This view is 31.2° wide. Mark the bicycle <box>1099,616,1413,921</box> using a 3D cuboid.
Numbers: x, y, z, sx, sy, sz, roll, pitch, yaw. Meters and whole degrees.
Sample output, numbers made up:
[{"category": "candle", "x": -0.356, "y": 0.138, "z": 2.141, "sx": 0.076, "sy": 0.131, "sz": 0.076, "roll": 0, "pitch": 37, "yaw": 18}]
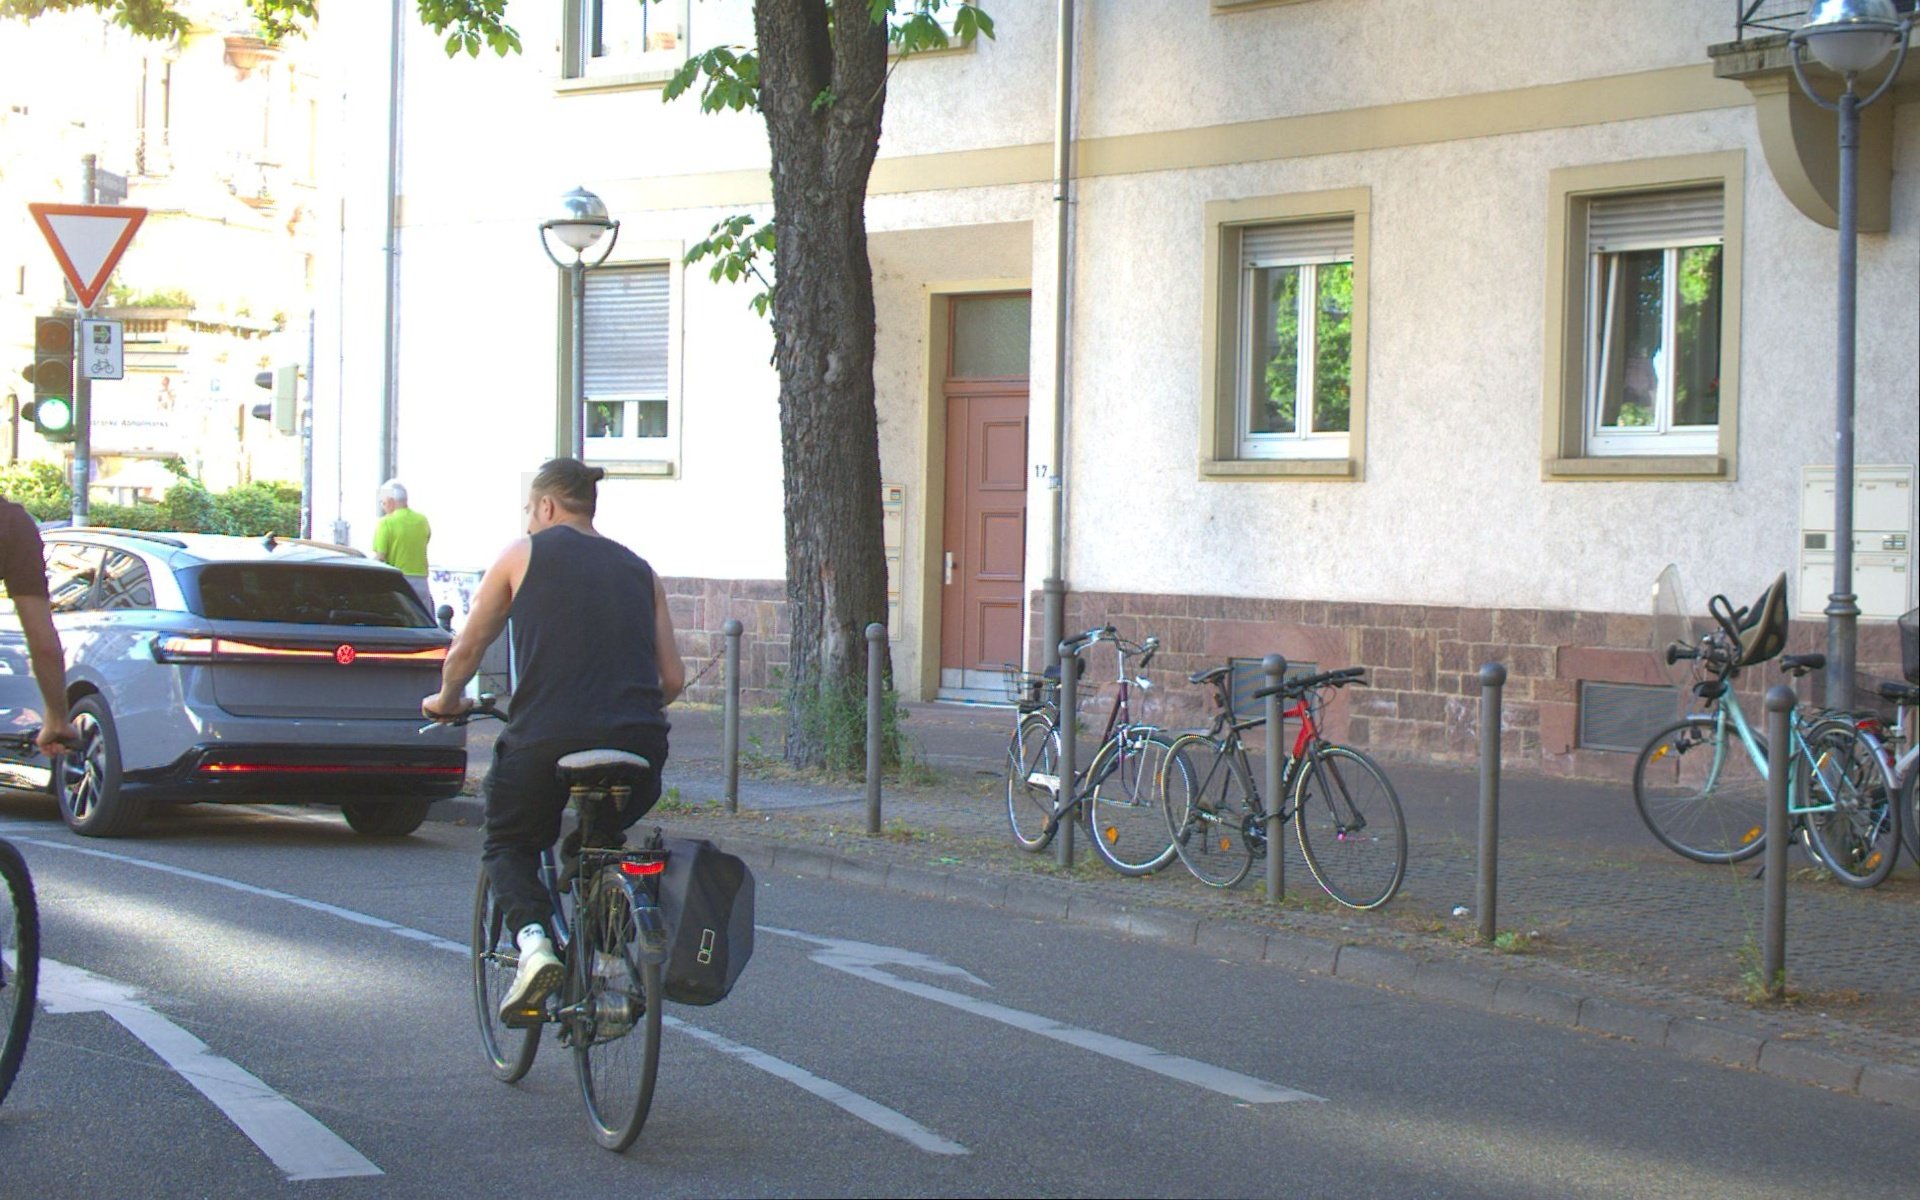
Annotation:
[{"category": "bicycle", "x": 1.197, "y": 0.658, "z": 14.257, "sx": 0.526, "sy": 1.103, "sz": 1.741, "roll": -2, "pitch": 3, "yaw": -23}]

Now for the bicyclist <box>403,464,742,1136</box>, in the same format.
[{"category": "bicyclist", "x": -1.034, "y": 0.480, "z": 9.010, "sx": 0.686, "sy": 1.650, "sz": 0.990, "roll": 0, "pitch": 1, "yaw": -18}]

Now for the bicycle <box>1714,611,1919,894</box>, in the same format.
[{"category": "bicycle", "x": 4.042, "y": 0.637, "z": 14.636, "sx": 0.667, "sy": 1.103, "sz": 1.967, "roll": 1, "pitch": 1, "yaw": -19}]

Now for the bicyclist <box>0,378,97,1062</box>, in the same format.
[{"category": "bicyclist", "x": -2.505, "y": 0.259, "z": 8.304, "sx": 0.706, "sy": 1.568, "sz": 0.957, "roll": 2, "pitch": 1, "yaw": -10}]

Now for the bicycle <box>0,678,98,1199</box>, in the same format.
[{"category": "bicycle", "x": -2.504, "y": 0.778, "z": 8.204, "sx": 0.717, "sy": 1.103, "sz": 1.967, "roll": 2, "pitch": 1, "yaw": -10}]

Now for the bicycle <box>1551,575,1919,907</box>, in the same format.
[{"category": "bicycle", "x": 3.329, "y": 0.550, "z": 14.624, "sx": 0.717, "sy": 1.273, "sz": 1.967, "roll": 0, "pitch": 2, "yaw": -20}]

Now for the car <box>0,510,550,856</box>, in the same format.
[{"category": "car", "x": -4.269, "y": 0.366, "z": 18.372, "sx": 1.970, "sy": 1.580, "sz": 4.474, "roll": 3, "pitch": 0, "yaw": -39}]

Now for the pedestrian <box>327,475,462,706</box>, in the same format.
[{"category": "pedestrian", "x": -4.327, "y": -0.091, "z": 26.294, "sx": 0.643, "sy": 1.721, "sz": 0.888, "roll": -3, "pitch": 3, "yaw": -38}]

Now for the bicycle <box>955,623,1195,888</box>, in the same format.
[{"category": "bicycle", "x": 0.504, "y": 0.681, "z": 15.769, "sx": 0.480, "sy": 1.060, "sz": 1.636, "roll": -2, "pitch": 3, "yaw": -21}]
